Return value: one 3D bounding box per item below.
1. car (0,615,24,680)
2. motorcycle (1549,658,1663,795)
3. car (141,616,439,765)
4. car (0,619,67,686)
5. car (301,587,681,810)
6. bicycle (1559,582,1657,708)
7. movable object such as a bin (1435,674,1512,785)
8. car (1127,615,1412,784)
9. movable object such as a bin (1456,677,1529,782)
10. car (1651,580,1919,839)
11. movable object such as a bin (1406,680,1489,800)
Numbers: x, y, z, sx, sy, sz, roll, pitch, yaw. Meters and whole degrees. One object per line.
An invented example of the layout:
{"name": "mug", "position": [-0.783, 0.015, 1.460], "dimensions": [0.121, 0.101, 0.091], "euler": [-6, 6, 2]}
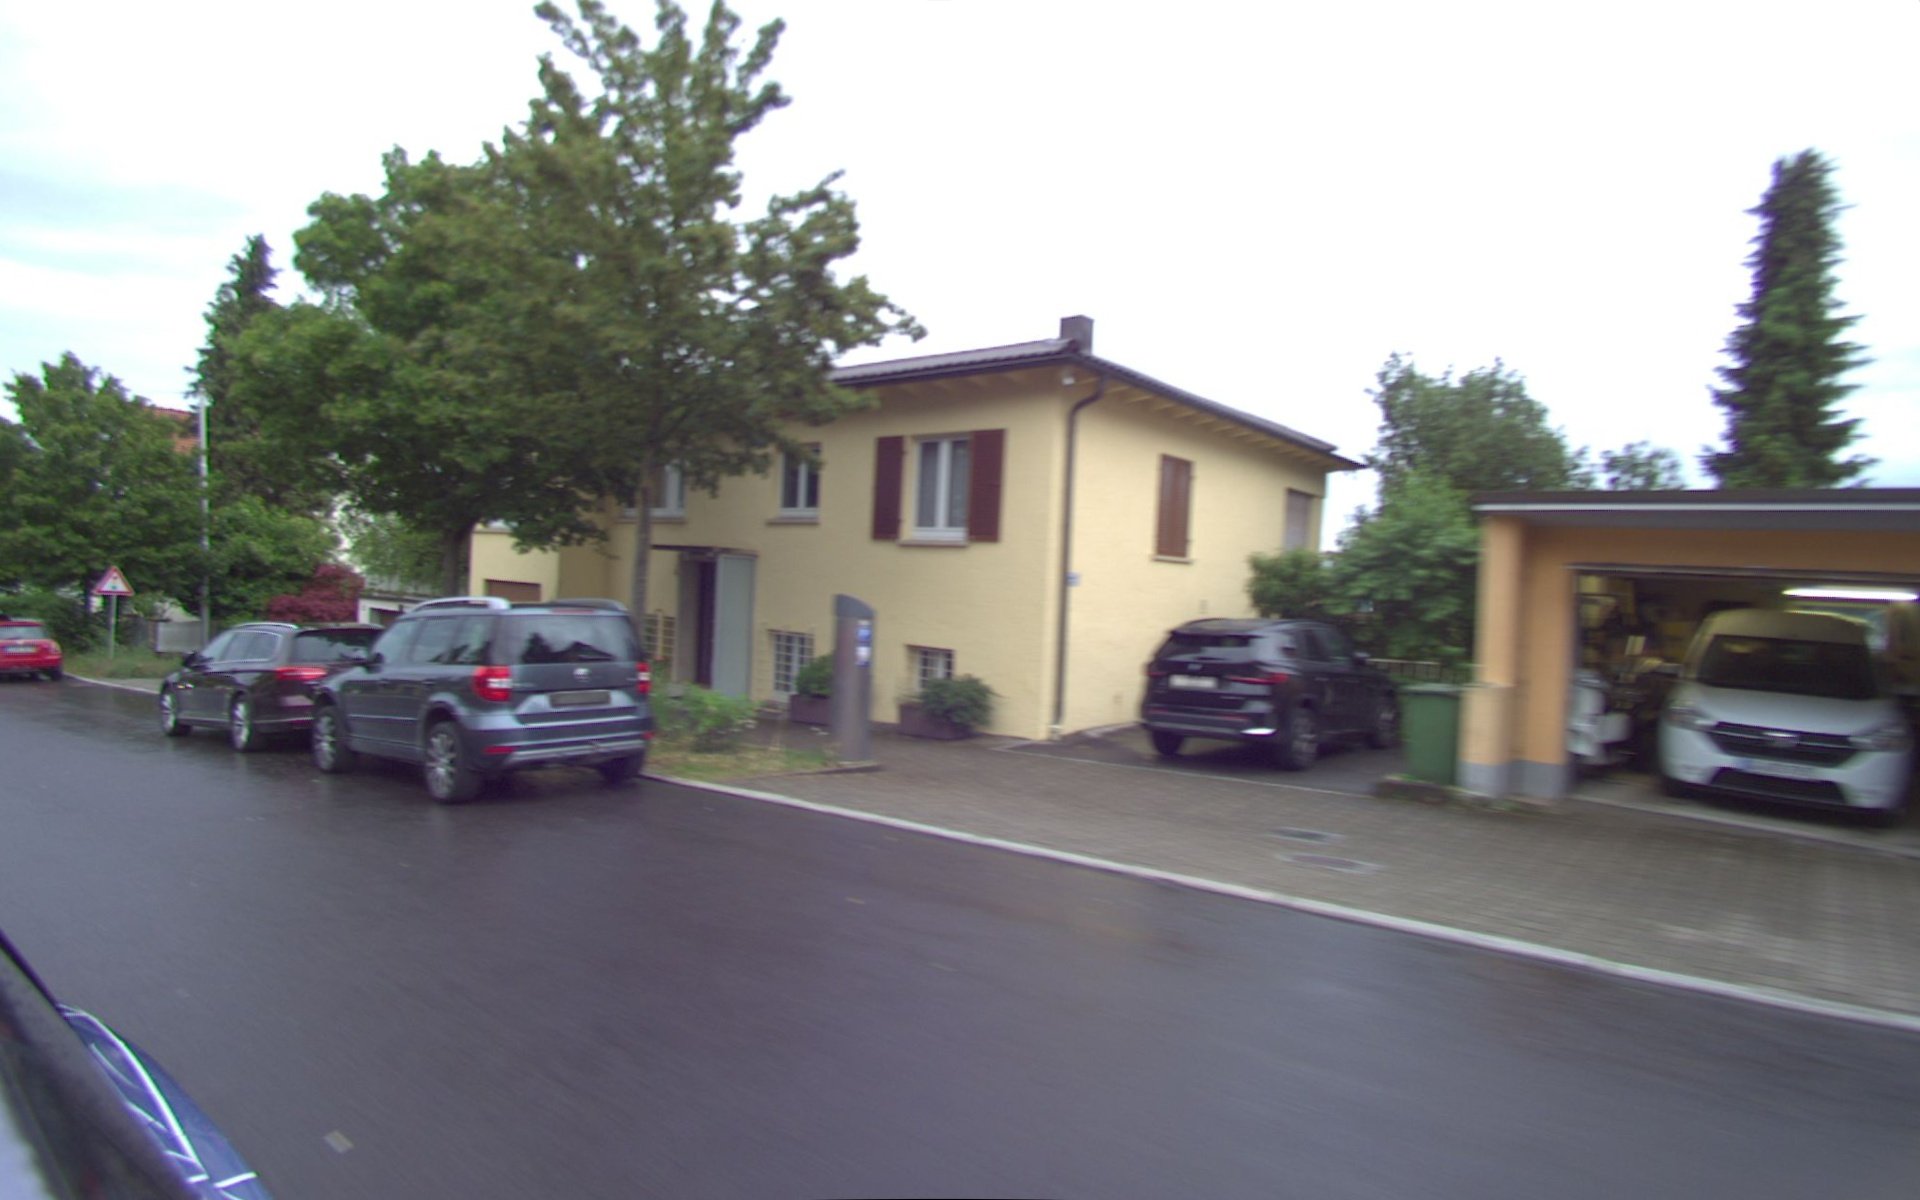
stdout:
{"name": "car", "position": [-26.952, 1.236, 27.196], "dimensions": [4.417, 1.681, 1.785], "euler": [0, -1, 36]}
{"name": "motorcycle", "position": [6.415, 1.192, 10.002], "dimensions": [0.578, 1.176, 1.880], "euler": [3, 0, 43]}
{"name": "car", "position": [-8.477, 1.006, 12.650], "dimensions": [4.599, 1.547, 1.751], "euler": [-1, -3, 39]}
{"name": "car", "position": [-23.185, 1.231, 24.491], "dimensions": [3.859, 1.483, 1.666], "euler": [0, -1, 38]}
{"name": "car", "position": [-4.545, 0.768, 9.512], "dimensions": [4.108, 1.647, 1.749], "euler": [-2, -1, 41]}
{"name": "bicycle", "position": [7.112, 0.518, 11.069], "dimensions": [0.626, 0.944, 1.742], "euler": [-1, -17, 42]}
{"name": "movable object such as a bin", "position": [5.250, 1.299, 10.347], "dimensions": [0.585, 1.031, 0.581], "euler": [-1, 0, 38]}
{"name": "car", "position": [3.867, 1.020, 12.243], "dimensions": [1.862, 1.658, 4.011], "euler": [0, -1, 41]}
{"name": "movable object such as a bin", "position": [5.723, 1.368, 10.866], "dimensions": [0.585, 1.031, 0.581], "euler": [-1, 0, 38]}
{"name": "car", "position": [8.300, 0.890, 9.878], "dimensions": [1.849, 1.904, 4.332], "euler": [5, 2, 43]}
{"name": "movable object such as a bin", "position": [4.641, 1.311, 9.632], "dimensions": [0.585, 1.031, 0.581], "euler": [-1, 0, 38]}
